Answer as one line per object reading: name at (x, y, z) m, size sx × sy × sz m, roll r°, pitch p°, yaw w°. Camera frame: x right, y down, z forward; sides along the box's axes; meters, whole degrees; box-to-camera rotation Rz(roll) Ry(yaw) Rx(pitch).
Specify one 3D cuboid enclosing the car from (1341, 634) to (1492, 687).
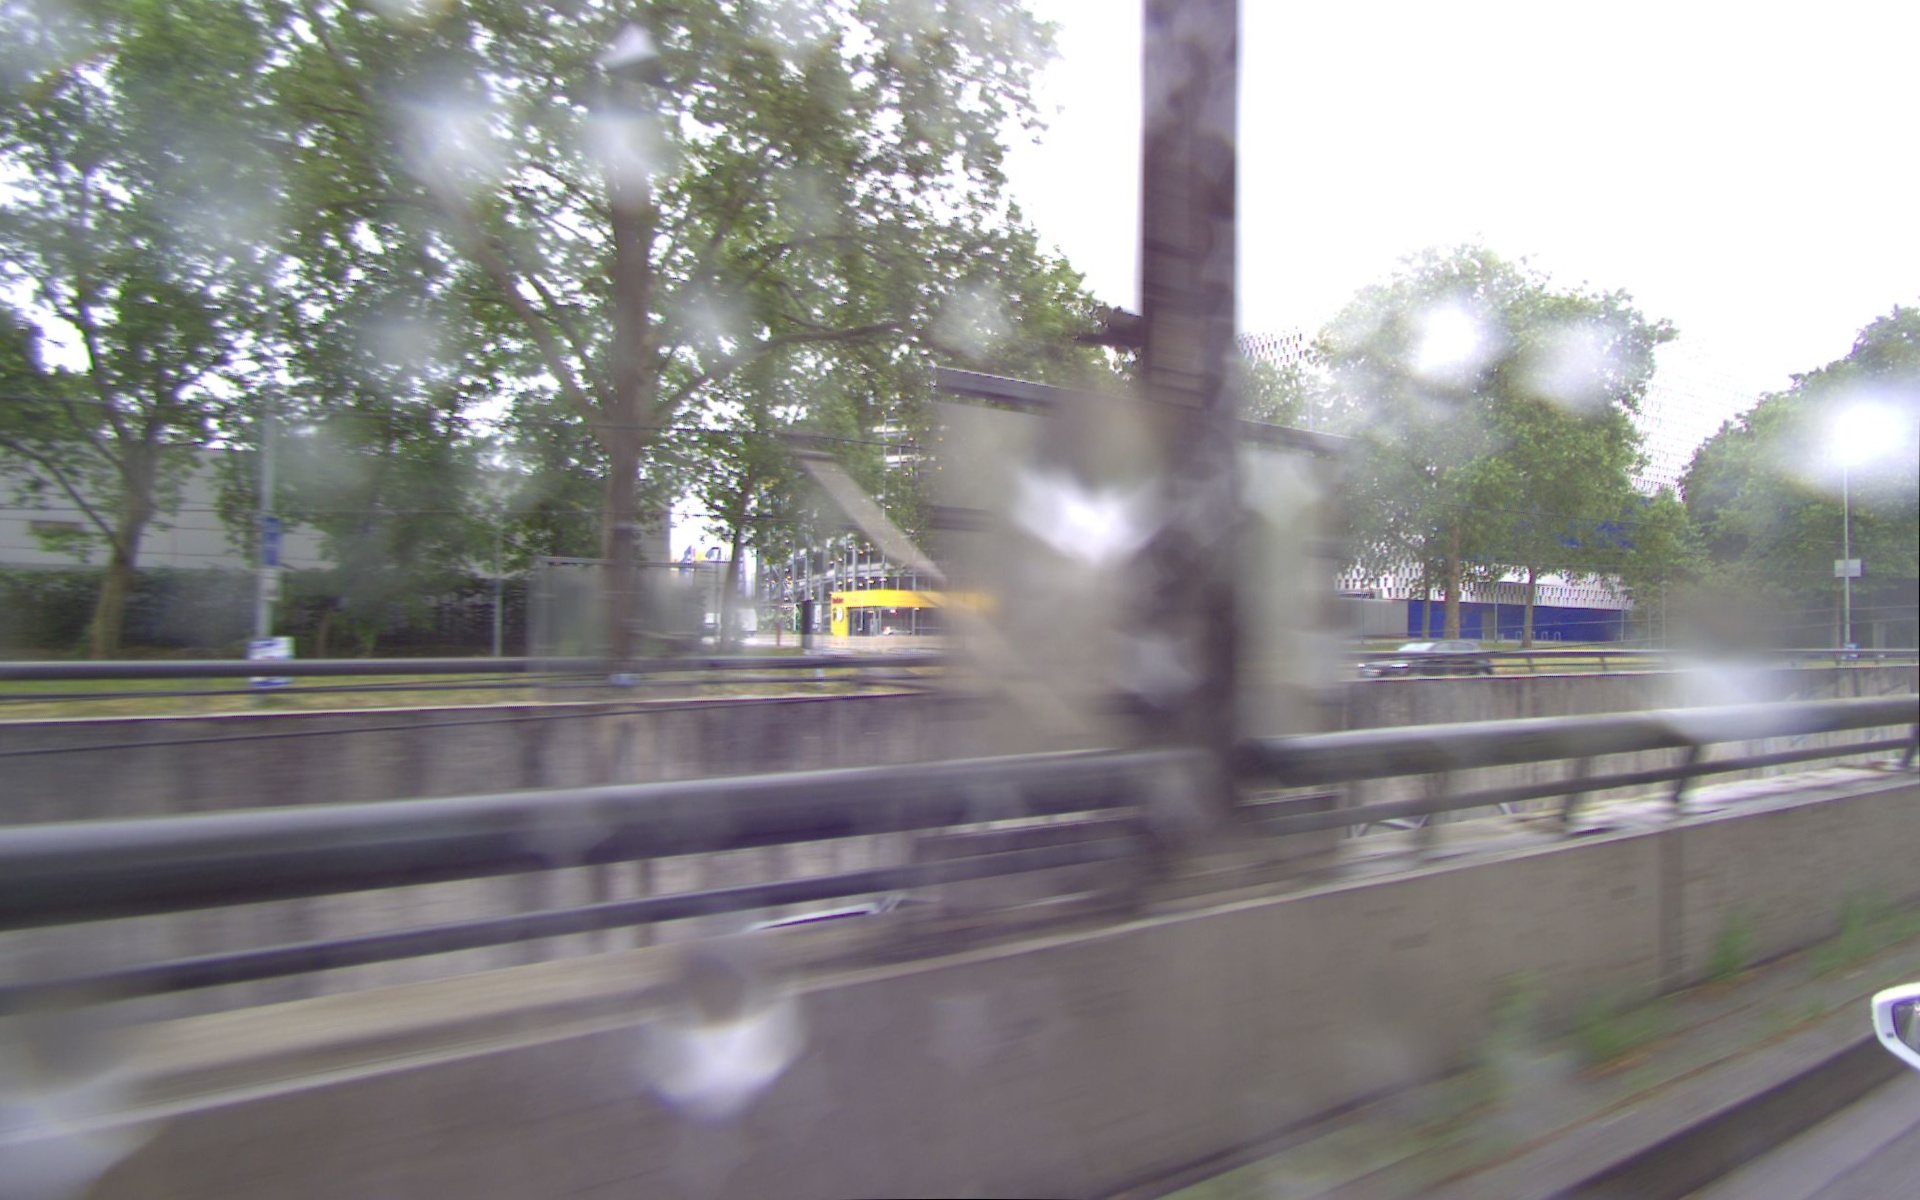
car at (13.223, 1.720, 29.116) m, size 3.740 × 1.422 × 1.989 m, roll 1°, pitch -1°, yaw -23°

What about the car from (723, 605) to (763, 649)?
car at (-21.252, 2.603, 98.312) m, size 2.188 × 4.159 × 5.311 m, roll 1°, pitch -1°, yaw -31°
